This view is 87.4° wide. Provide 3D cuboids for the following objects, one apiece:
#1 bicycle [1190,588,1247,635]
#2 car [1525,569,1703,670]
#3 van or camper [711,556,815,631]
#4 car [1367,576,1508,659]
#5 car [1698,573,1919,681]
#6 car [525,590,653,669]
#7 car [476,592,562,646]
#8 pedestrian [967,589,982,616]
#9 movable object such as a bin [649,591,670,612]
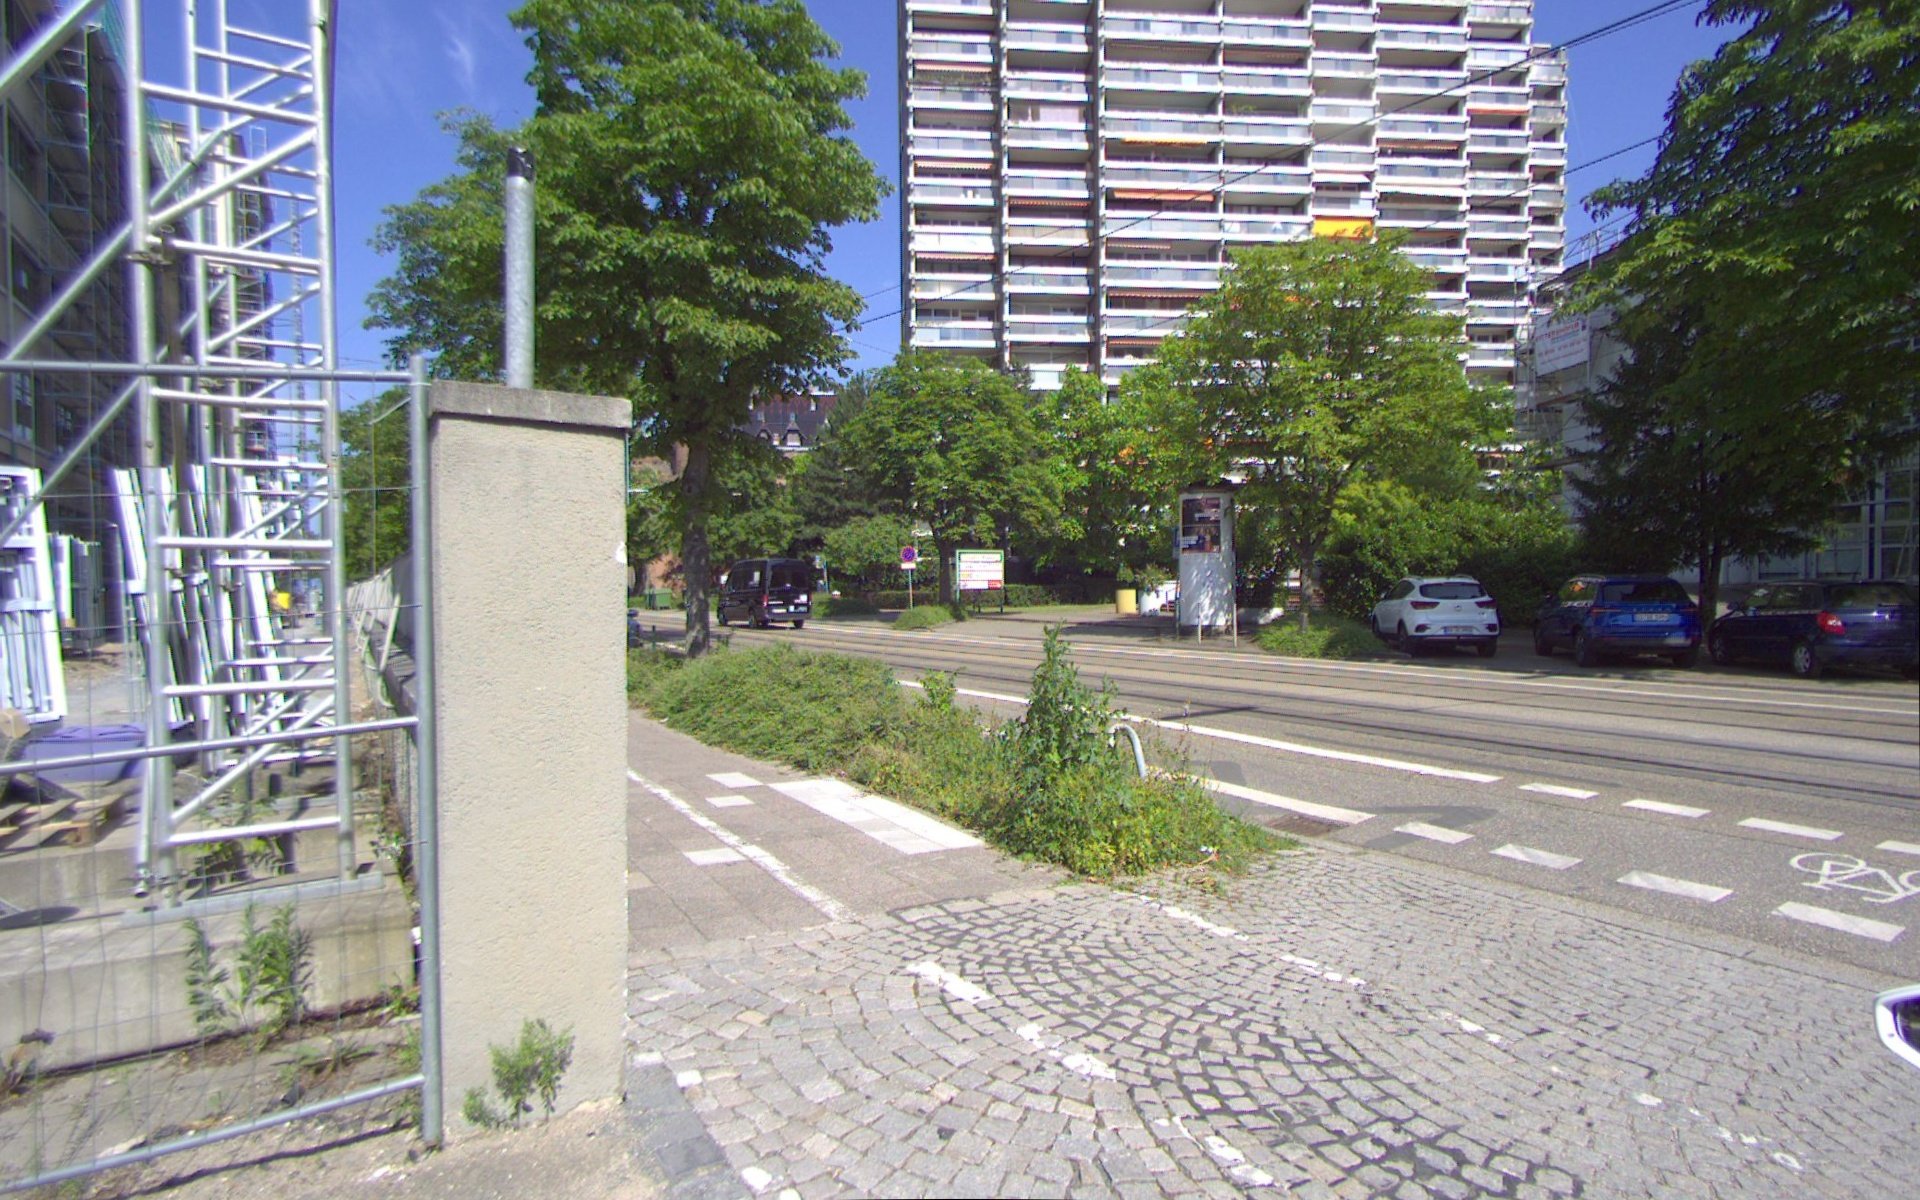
[{"bbox_3d":[7.449,0.311,28.970,0.542,1.326,1.604,-1,1,-37],"label":"bicycle"},{"bbox_3d":[12.076,0.287,18.833,1.745,1.644,3.945,-1,2,17],"label":"car"},{"bbox_3d":[-7.713,-0.275,38.843,2.028,2.655,5.810,-1,1,-32],"label":"van or camper"},{"bbox_3d":[10.134,0.316,21.641,1.783,1.628,3.947,0,1,10],"label":"car"},{"bbox_3d":[13.676,0.366,16.229,1.544,1.551,3.460,0,1,12],"label":"car"},{"bbox_3d":[-8.125,0.567,21.767,1.801,1.514,4.071,-1,1,-32],"label":"car"},{"bbox_3d":[-13.235,0.518,30.028,1.801,1.473,3.965,-1,1,-32],"label":"car"},{"bbox_3d":[0.638,0.093,44.629,0.525,1.170,0.700,-1,1,-10],"label":"pedestrian"},{"bbox_3d":[-21.207,0.105,70.877,1.249,1.473,1.072,0,1,-27],"label":"movable object such as a bin"}]
